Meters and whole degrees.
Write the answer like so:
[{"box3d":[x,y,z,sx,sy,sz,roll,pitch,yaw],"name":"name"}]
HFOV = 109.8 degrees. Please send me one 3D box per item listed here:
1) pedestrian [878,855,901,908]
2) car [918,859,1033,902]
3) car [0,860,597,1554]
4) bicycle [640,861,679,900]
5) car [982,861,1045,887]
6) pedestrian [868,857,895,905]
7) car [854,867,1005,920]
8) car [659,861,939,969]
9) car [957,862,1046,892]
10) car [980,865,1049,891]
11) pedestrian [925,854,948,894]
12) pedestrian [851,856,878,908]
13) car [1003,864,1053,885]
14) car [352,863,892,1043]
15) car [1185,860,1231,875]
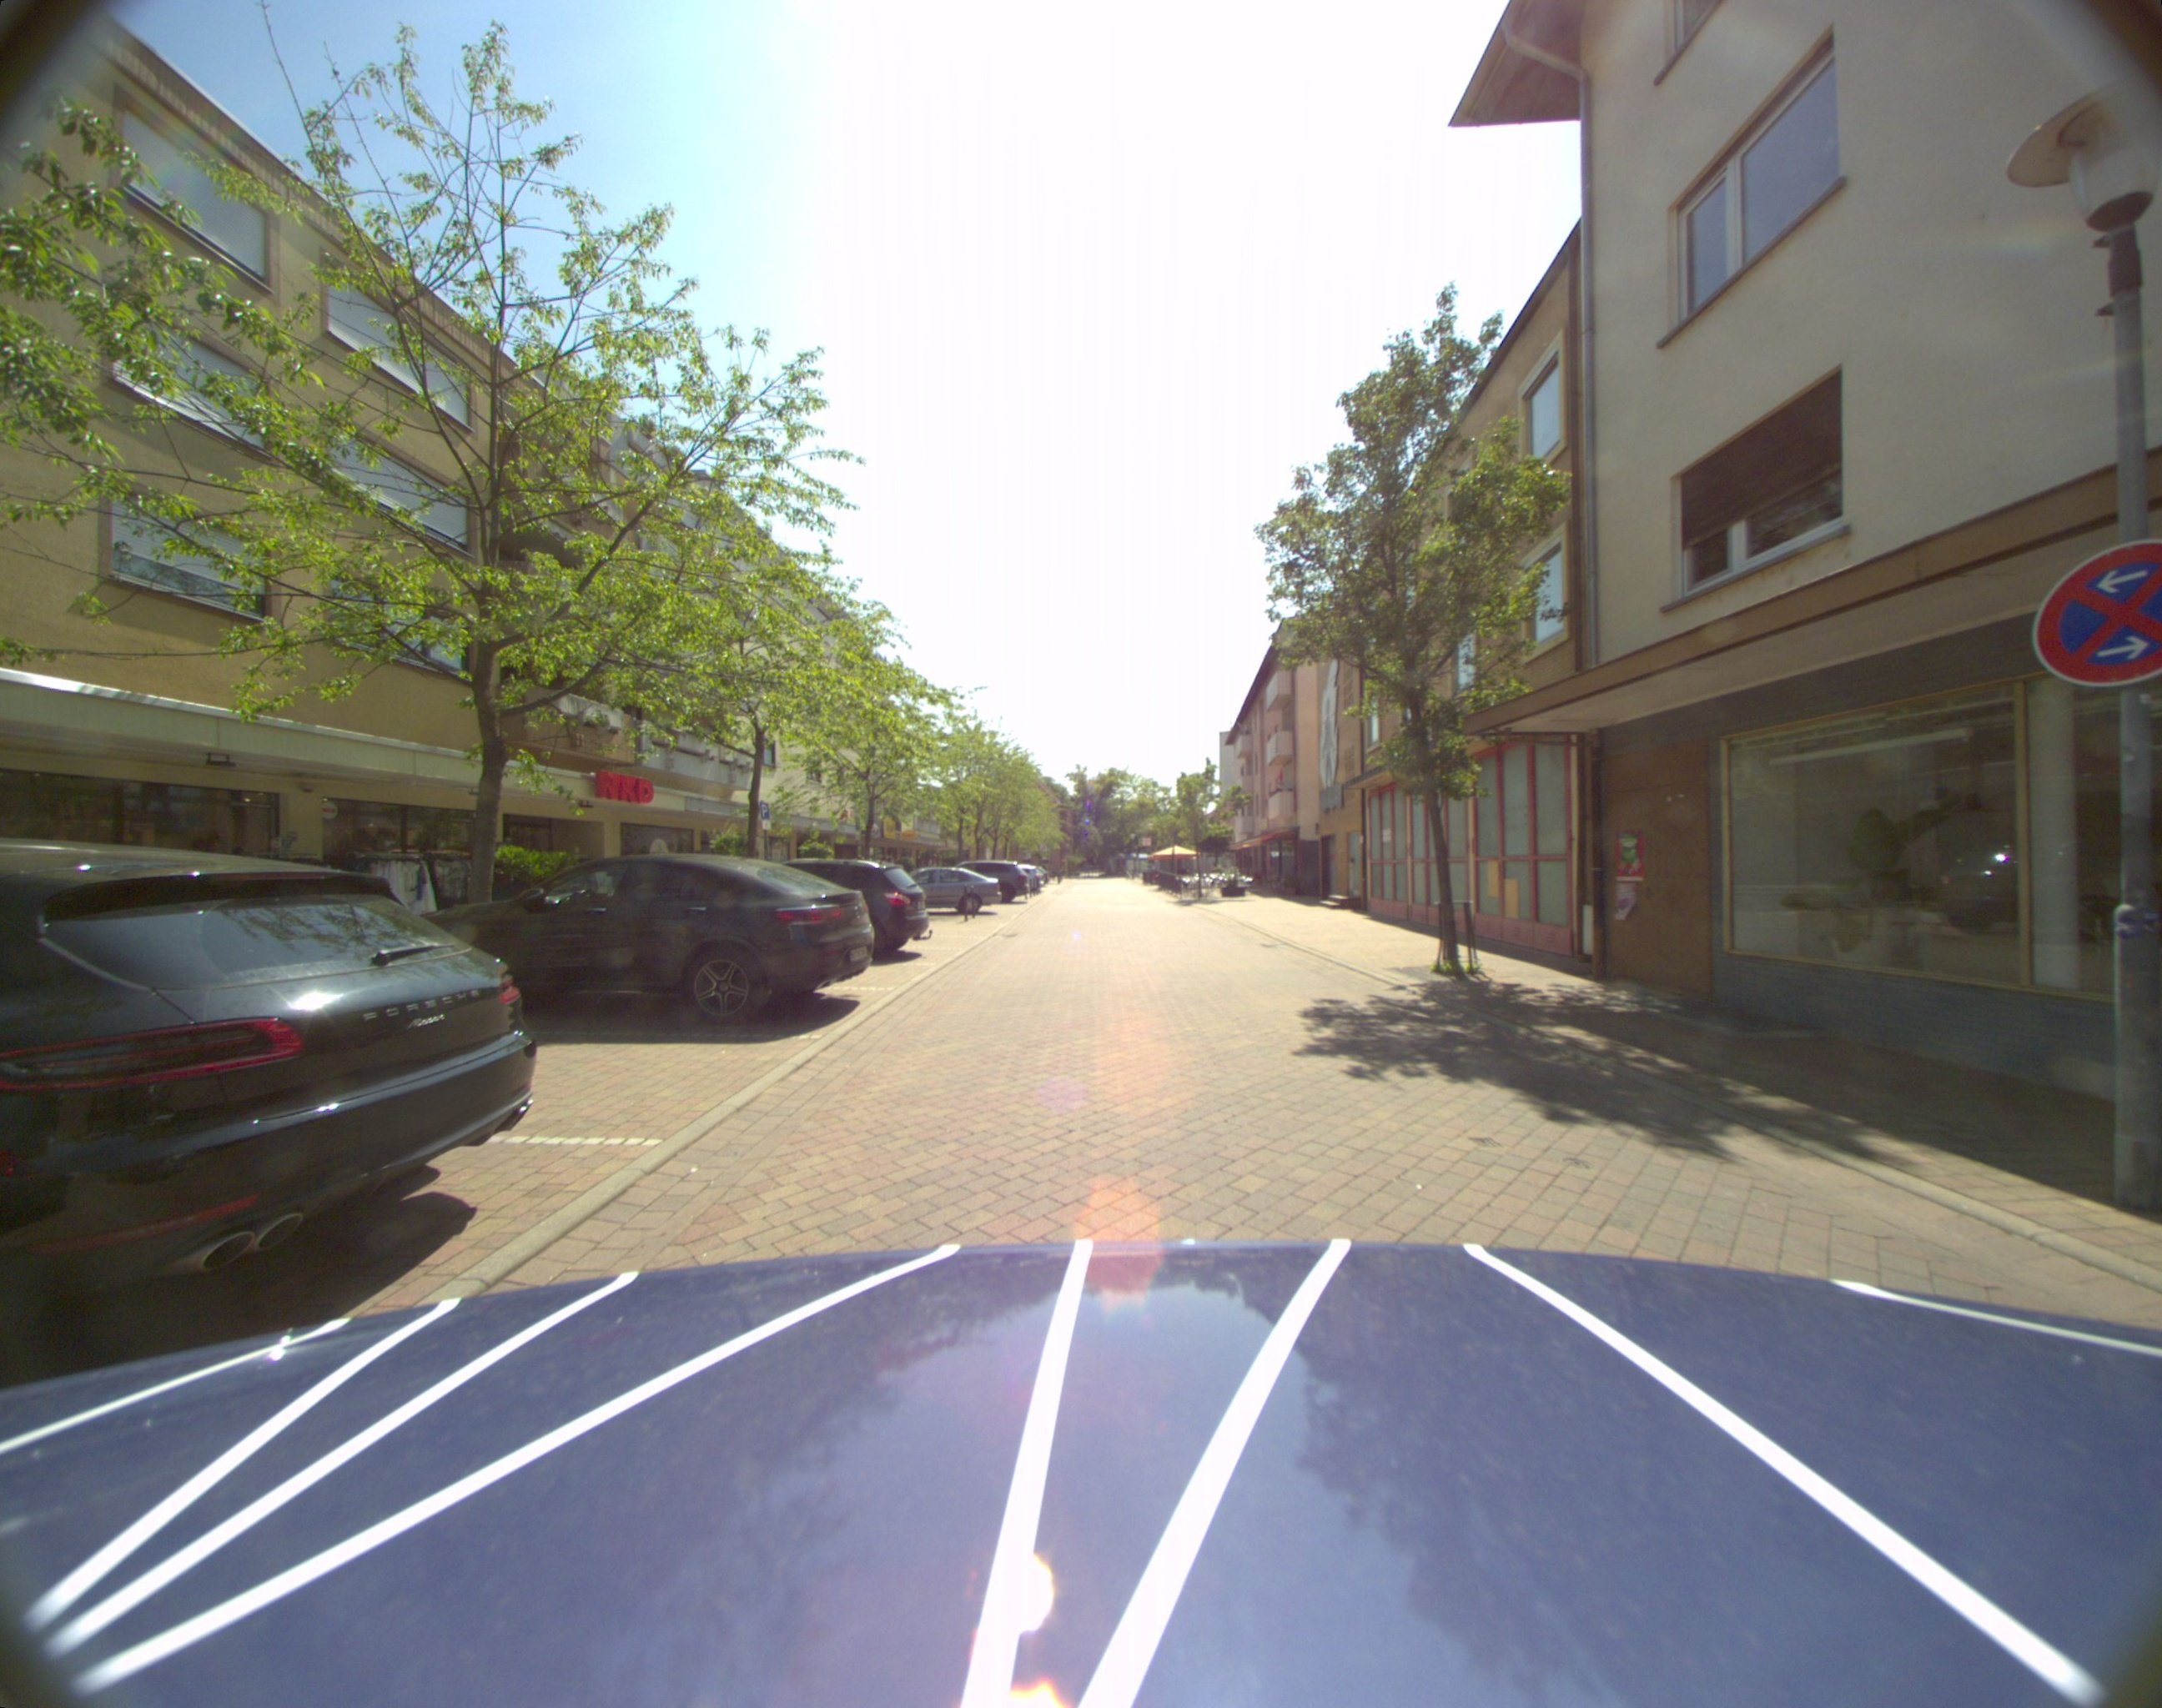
[{"box3d":[-6.652,0.947,26.422,0.607,1.785,0.626,-1,0,-27],"name":"pedestrian"},{"box3d":[-4.070,1.030,29.798,4.254,1.608,1.757,1,0,-1],"name":"car"},{"box3d":[-4.580,0.862,2.798,4.290,1.671,2.000,0,0,-1],"name":"car"},{"box3d":[-12.137,0.756,21.902,0.361,1.061,1.313,-2,0,0],"name":"bicycle"},{"box3d":[-4.057,1.232,46.289,3.652,1.508,1.633,1,0,1],"name":"car"},{"box3d":[-7.234,0.969,27.553,0.614,1.720,0.649,-1,1,35],"name":"pedestrian"},{"box3d":[-4.745,1.179,23.673,4.391,1.455,1.887,0,0,-19],"name":"car"},{"box3d":[-4.588,0.957,12.745,4.036,1.602,1.681,1,0,2],"name":"car"},{"box3d":[-4.258,1.207,41.182,4.585,1.534,1.807,1,0,1],"name":"car"},{"box3d":[-3.781,1.368,43.724,3.800,1.423,1.614,1,0,1],"name":"car"},{"box3d":[-6.475,0.894,33.986,0.759,1.770,0.871,0,0,8],"name":"pedestrian"},{"box3d":[-7.404,0.950,25.983,0.633,1.762,0.685,-1,0,-37],"name":"pedestrian"},{"box3d":[-3.758,1.443,53.832,3.401,1.382,1.460,1,0,1],"name":"car"},{"box3d":[-4.485,0.902,7.896,4.518,1.579,1.851,1,0,3],"name":"car"},{"box3d":[12.646,1.322,75.912,4.336,1.459,1.777,-1,0,2],"name":"car"}]
